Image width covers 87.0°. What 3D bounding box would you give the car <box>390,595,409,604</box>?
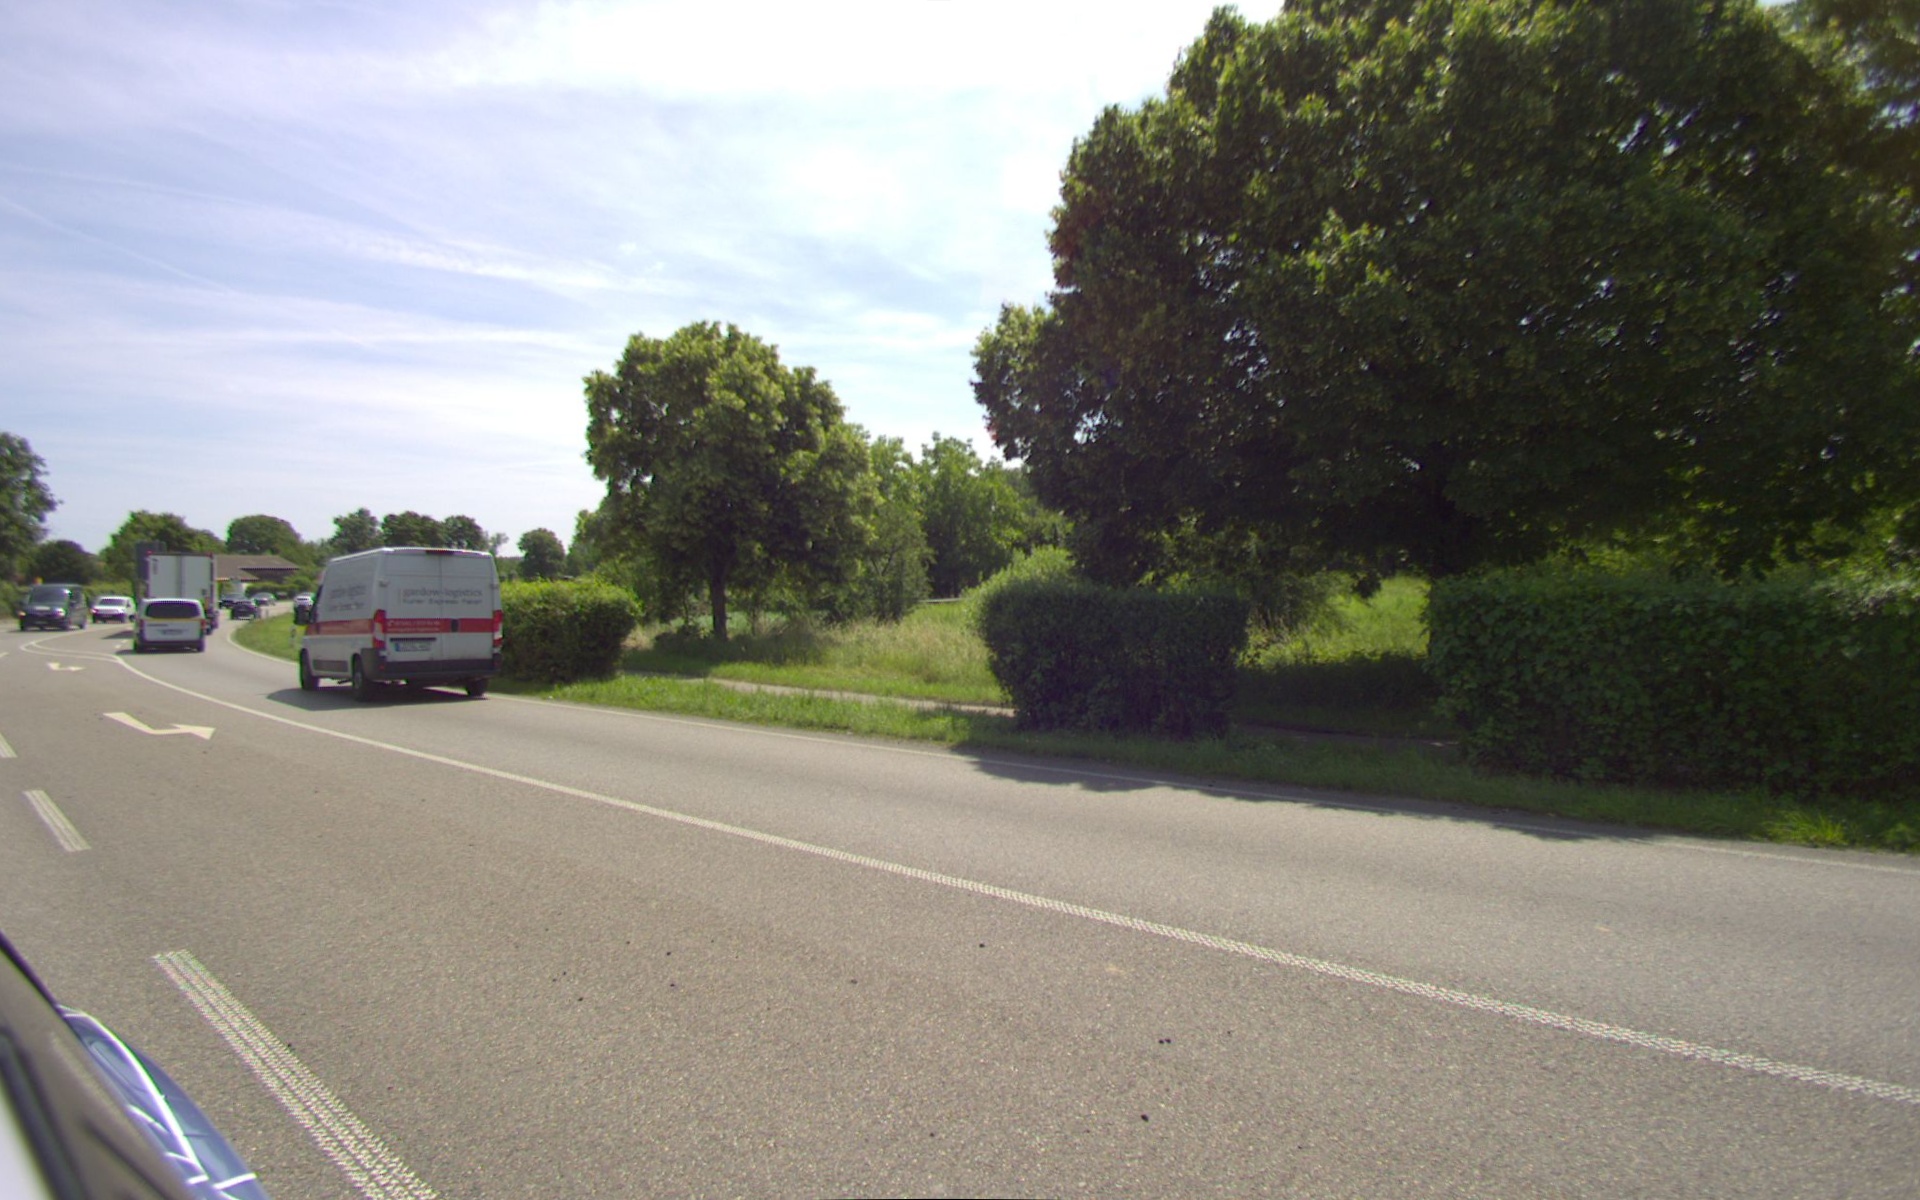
[{"bbox_3d":[-102.288,-0.072,184.769,1.756,1.504,4.166,0,0,-9],"label":"car"}]

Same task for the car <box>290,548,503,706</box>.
[{"bbox_3d":[-10.349,0.492,18.371,2.027,2.471,5.271,1,-2,-45],"label":"car"}]

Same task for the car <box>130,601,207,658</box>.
[{"bbox_3d":[-28.225,1.037,36.014,1.850,1.879,5.148,0,-1,-41],"label":"car"}]

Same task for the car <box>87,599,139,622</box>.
[{"bbox_3d":[-58.629,0.691,70.088,1.753,1.504,4.171,0,0,-25],"label":"car"}]

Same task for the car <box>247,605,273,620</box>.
[{"bbox_3d":[-85.666,1.559,123.901,1.779,1.746,4.013,-1,-1,-21],"label":"car"}]

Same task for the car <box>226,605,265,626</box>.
[{"bbox_3d":[-57.326,1.224,81.209,1.593,1.570,4.013,0,0,-21],"label":"car"}]

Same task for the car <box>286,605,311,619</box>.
[{"bbox_3d":[-72.754,1.345,111.402,1.593,1.473,3.482,0,0,-21],"label":"car"}]

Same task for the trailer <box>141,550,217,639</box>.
[{"bbox_3d":[-40.383,-0.188,52.584,2.741,4.133,11.687,2,-2,-36],"label":"trailer"}]

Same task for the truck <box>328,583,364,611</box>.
[{"bbox_3d":[-82.778,-0.391,136.587,2.926,3.597,6.921,0,0,-21],"label":"truck"}]

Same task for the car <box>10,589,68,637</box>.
[{"bbox_3d":[-49.965,0.672,54.890,4.157,2.538,1.954,0,0,42],"label":"car"}]

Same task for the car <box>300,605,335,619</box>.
[{"bbox_3d":[-68.954,1.250,108.667,1.595,1.473,4.007,0,0,-8],"label":"car"}]
